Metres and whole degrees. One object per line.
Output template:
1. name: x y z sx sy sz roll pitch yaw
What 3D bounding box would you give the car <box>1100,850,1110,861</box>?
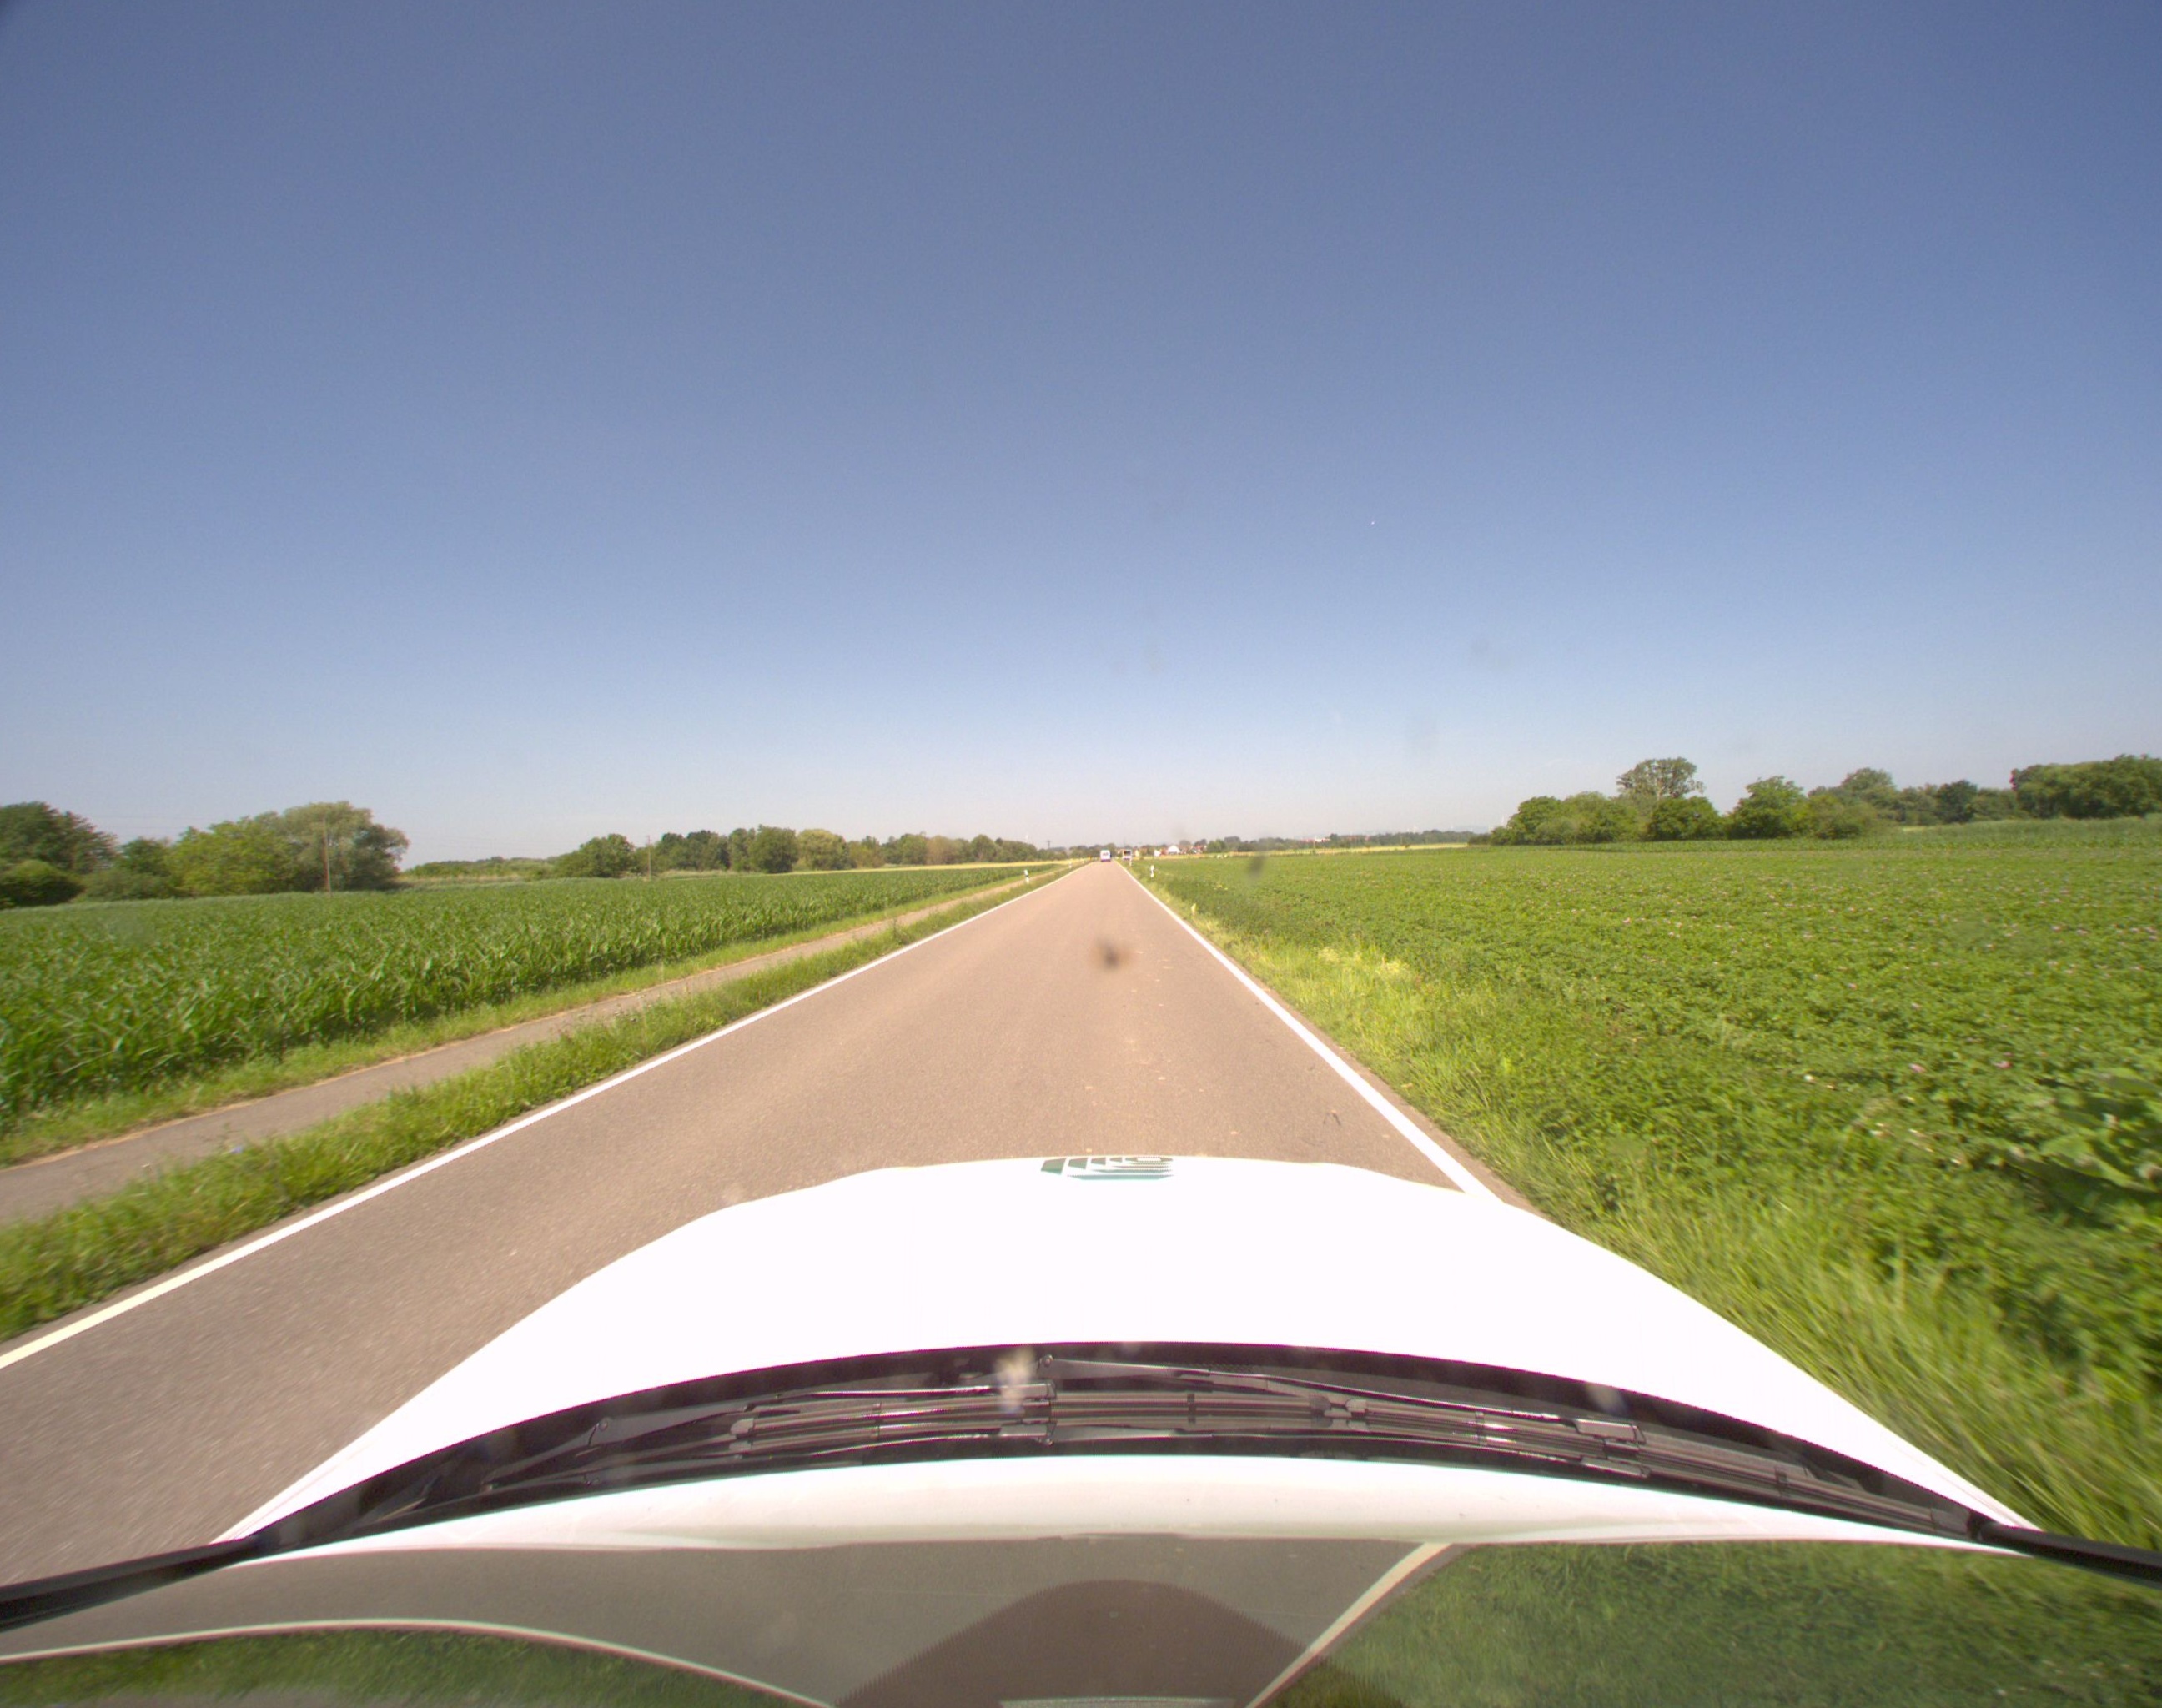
1. car: 5.135 0.410 175.293 2.099 2.304 5.497 0 -1 2

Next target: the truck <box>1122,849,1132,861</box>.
1. truck: 12.261 0.328 217.234 2.328 2.942 7.007 1 -1 0
